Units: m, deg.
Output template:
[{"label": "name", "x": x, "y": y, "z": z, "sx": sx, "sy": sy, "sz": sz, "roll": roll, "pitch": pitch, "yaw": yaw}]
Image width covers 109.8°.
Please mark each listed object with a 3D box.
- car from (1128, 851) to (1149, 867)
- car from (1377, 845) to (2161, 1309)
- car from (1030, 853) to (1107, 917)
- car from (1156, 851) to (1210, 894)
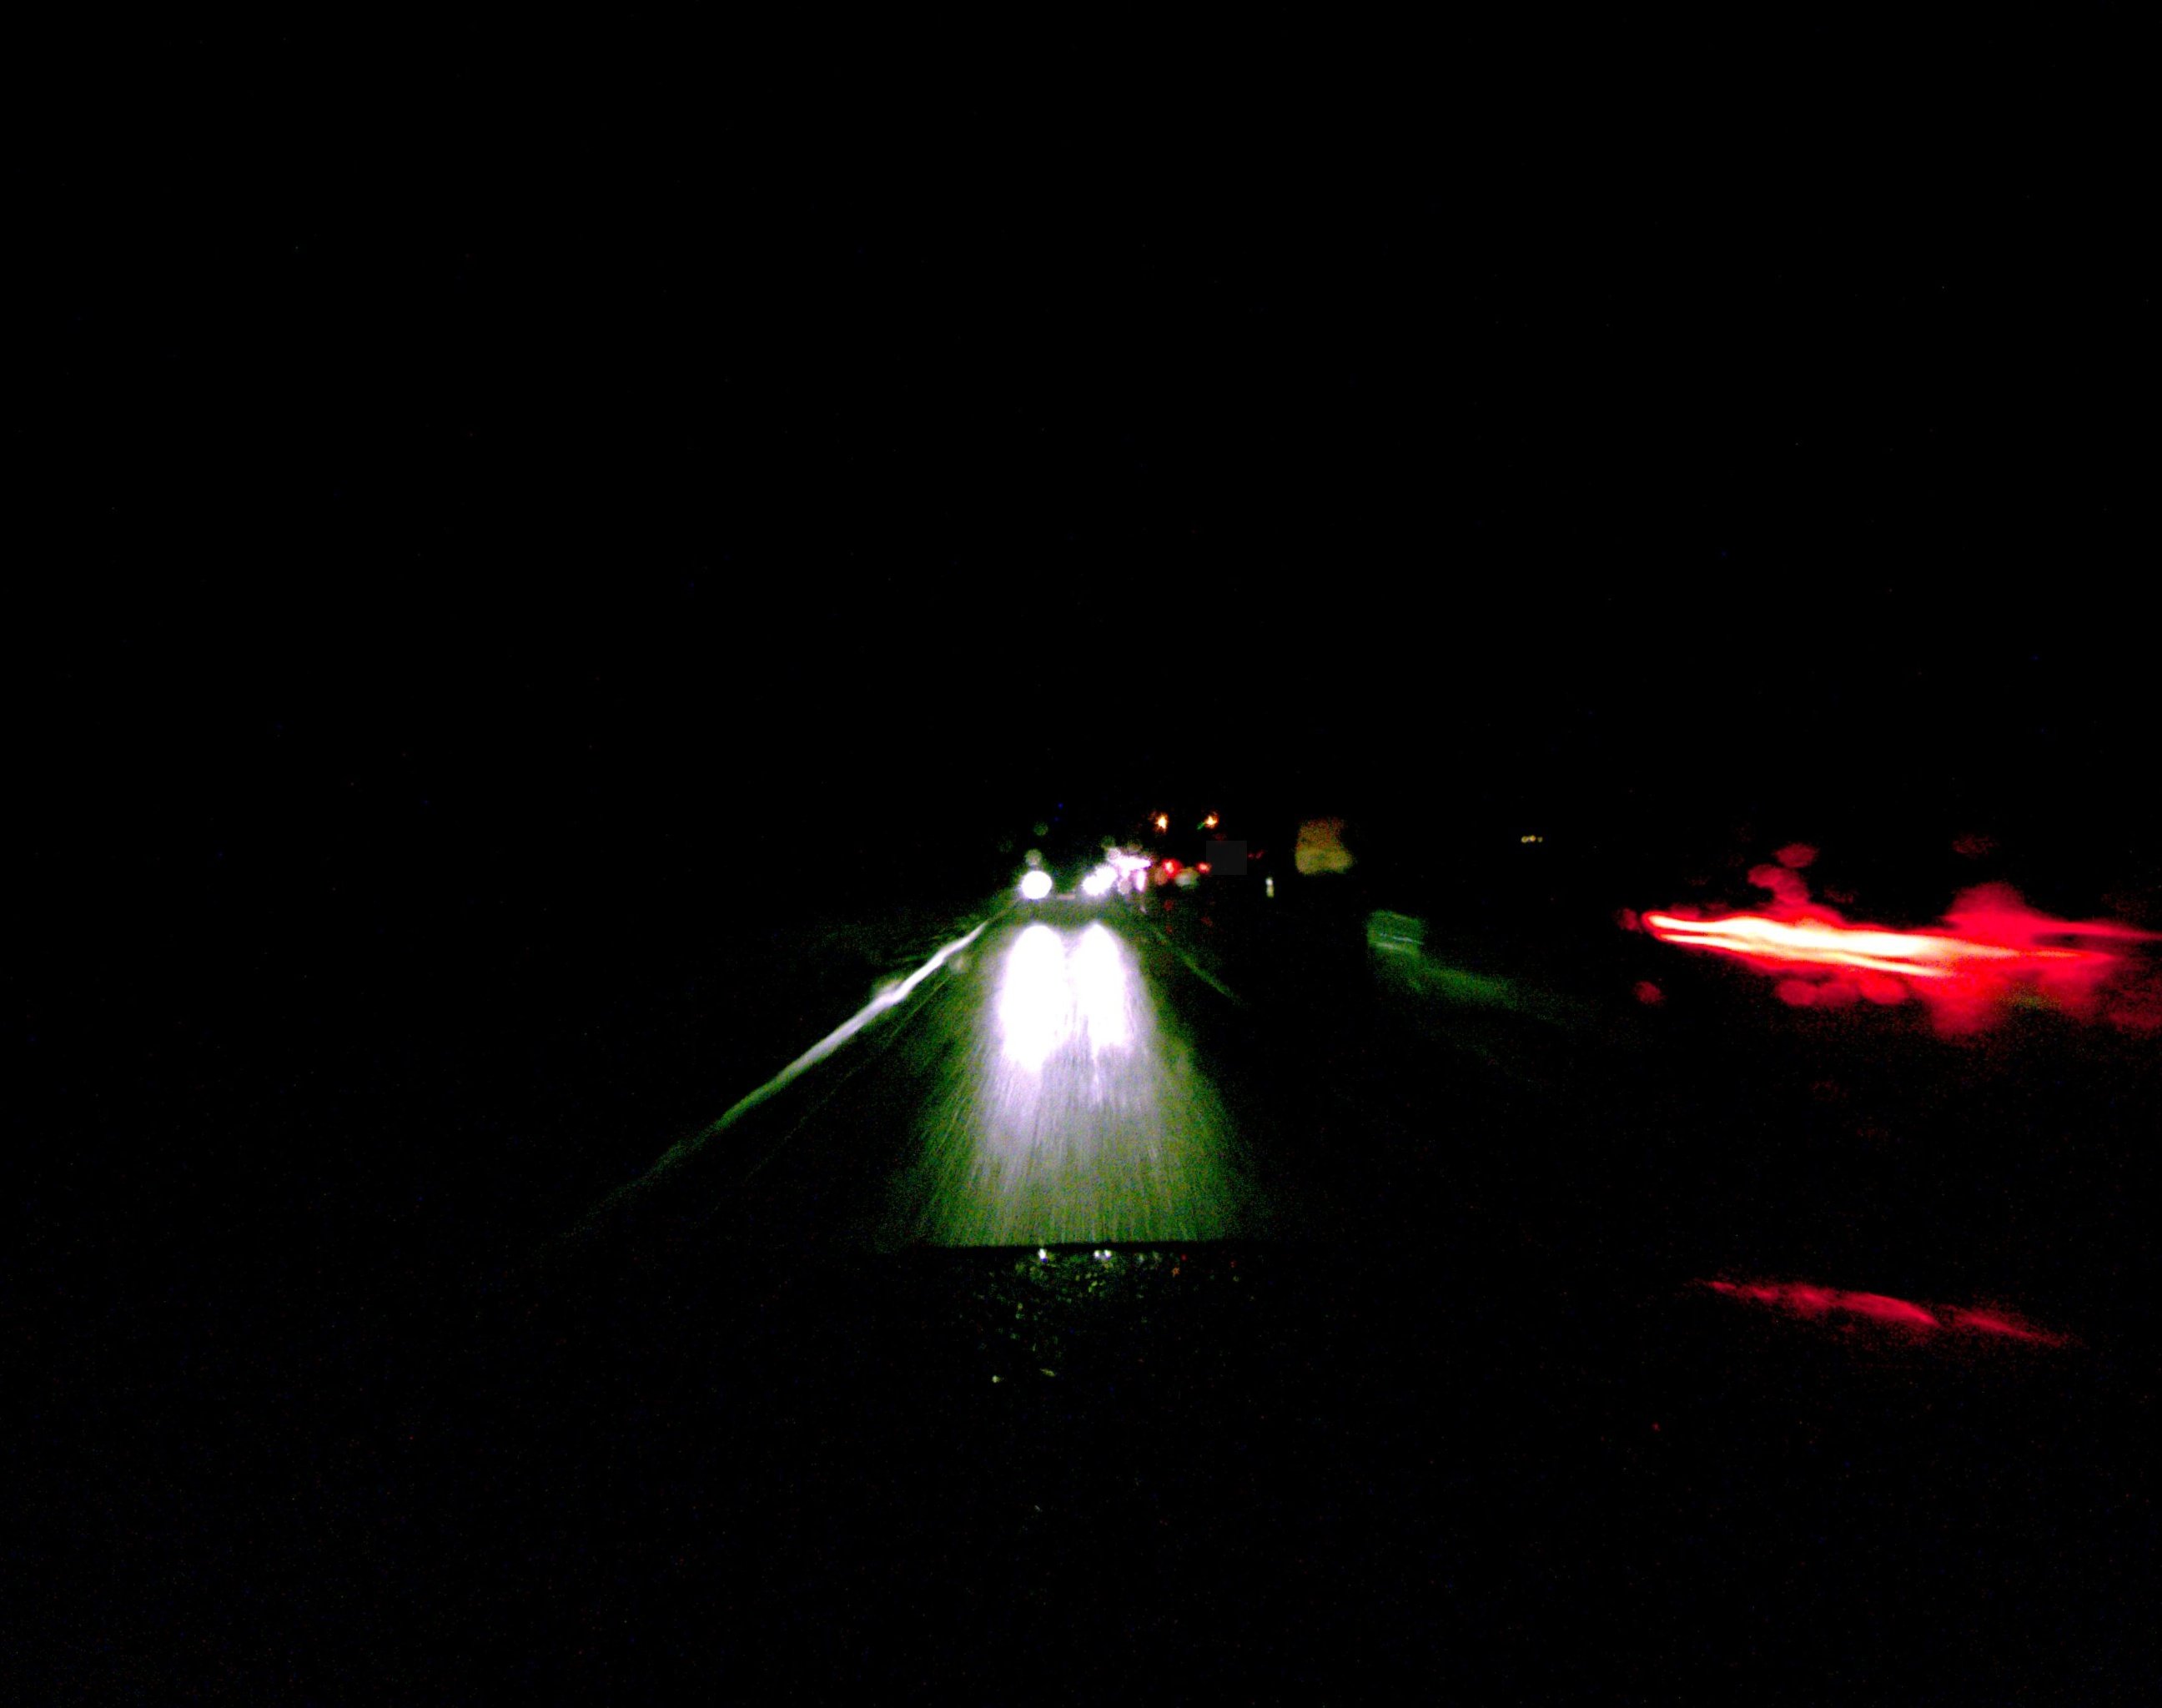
[{"label": "car", "x": 6.197, "y": 0.526, "z": 81.555, "sx": 1.900, "sy": 1.552, "sz": 4.002, "roll": -1, "pitch": 1, "yaw": 9}, {"label": "car", "x": 3.589, "y": 0.750, "z": 4.718, "sx": 1.807, "sy": 1.563, "sz": 4.190, "roll": -1, "pitch": 1, "yaw": -1}, {"label": "car", "x": -0.266, "y": 0.779, "z": 21.104, "sx": 1.901, "sy": 1.552, "sz": 4.000, "roll": -1, "pitch": 1, "yaw": 1}, {"label": "car", "x": 4.042, "y": 0.682, "z": 30.620, "sx": 1.645, "sy": 1.605, "sz": 3.731, "roll": 1, "pitch": 0, "yaw": 0}]
